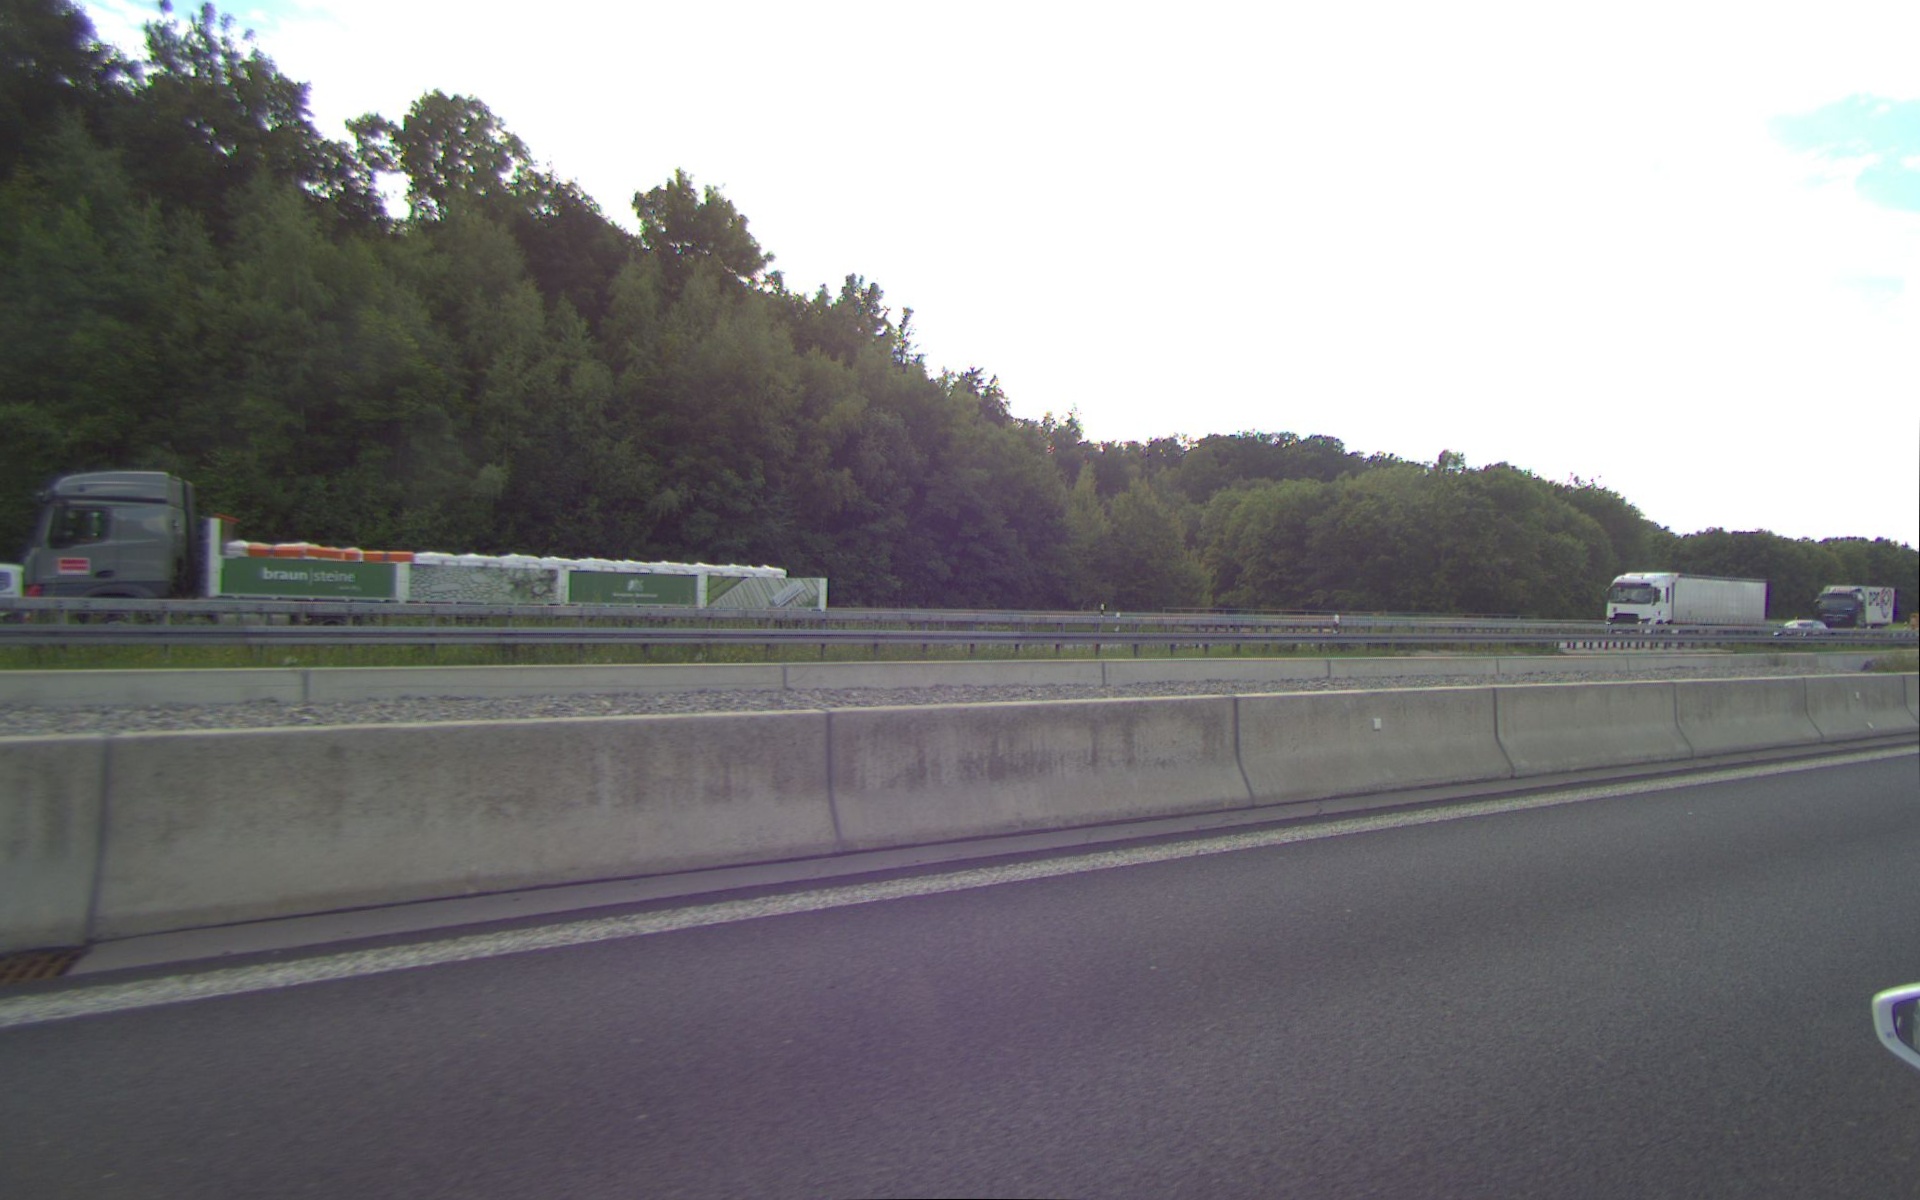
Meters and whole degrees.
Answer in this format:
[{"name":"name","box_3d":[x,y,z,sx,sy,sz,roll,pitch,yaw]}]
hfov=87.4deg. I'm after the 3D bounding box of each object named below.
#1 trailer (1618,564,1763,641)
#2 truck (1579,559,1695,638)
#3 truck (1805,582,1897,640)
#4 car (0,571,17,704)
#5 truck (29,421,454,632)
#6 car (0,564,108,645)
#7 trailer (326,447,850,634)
[{"name":"trailer","box_3d":[47.130,0.280,64.593,12.009,4.349,3.302,3,-1,-33]},{"name":"truck","box_3d":[40.794,-0.039,60.499,6.675,4.349,3.302,3,-1,-32]},{"name":"truck","box_3d":[68.566,0.897,77.170,10.360,4.021,2.883,3,-1,-35]},{"name":"car","box_3d":[-12.886,0.337,10.040,4.711,1.548,1.704,3,-1,-30]},{"name":"truck","box_3d":[-15.064,-1.336,21.808,7.049,3.878,2.794,1,0,-32]},{"name":"car","box_3d":[-23.985,0.034,23.964,5.196,1.879,1.985,3,-1,-28]},{"name":"trailer","box_3d":[-8.890,-1.169,25.521,12.049,3.858,2.798,2,0,-31]}]
